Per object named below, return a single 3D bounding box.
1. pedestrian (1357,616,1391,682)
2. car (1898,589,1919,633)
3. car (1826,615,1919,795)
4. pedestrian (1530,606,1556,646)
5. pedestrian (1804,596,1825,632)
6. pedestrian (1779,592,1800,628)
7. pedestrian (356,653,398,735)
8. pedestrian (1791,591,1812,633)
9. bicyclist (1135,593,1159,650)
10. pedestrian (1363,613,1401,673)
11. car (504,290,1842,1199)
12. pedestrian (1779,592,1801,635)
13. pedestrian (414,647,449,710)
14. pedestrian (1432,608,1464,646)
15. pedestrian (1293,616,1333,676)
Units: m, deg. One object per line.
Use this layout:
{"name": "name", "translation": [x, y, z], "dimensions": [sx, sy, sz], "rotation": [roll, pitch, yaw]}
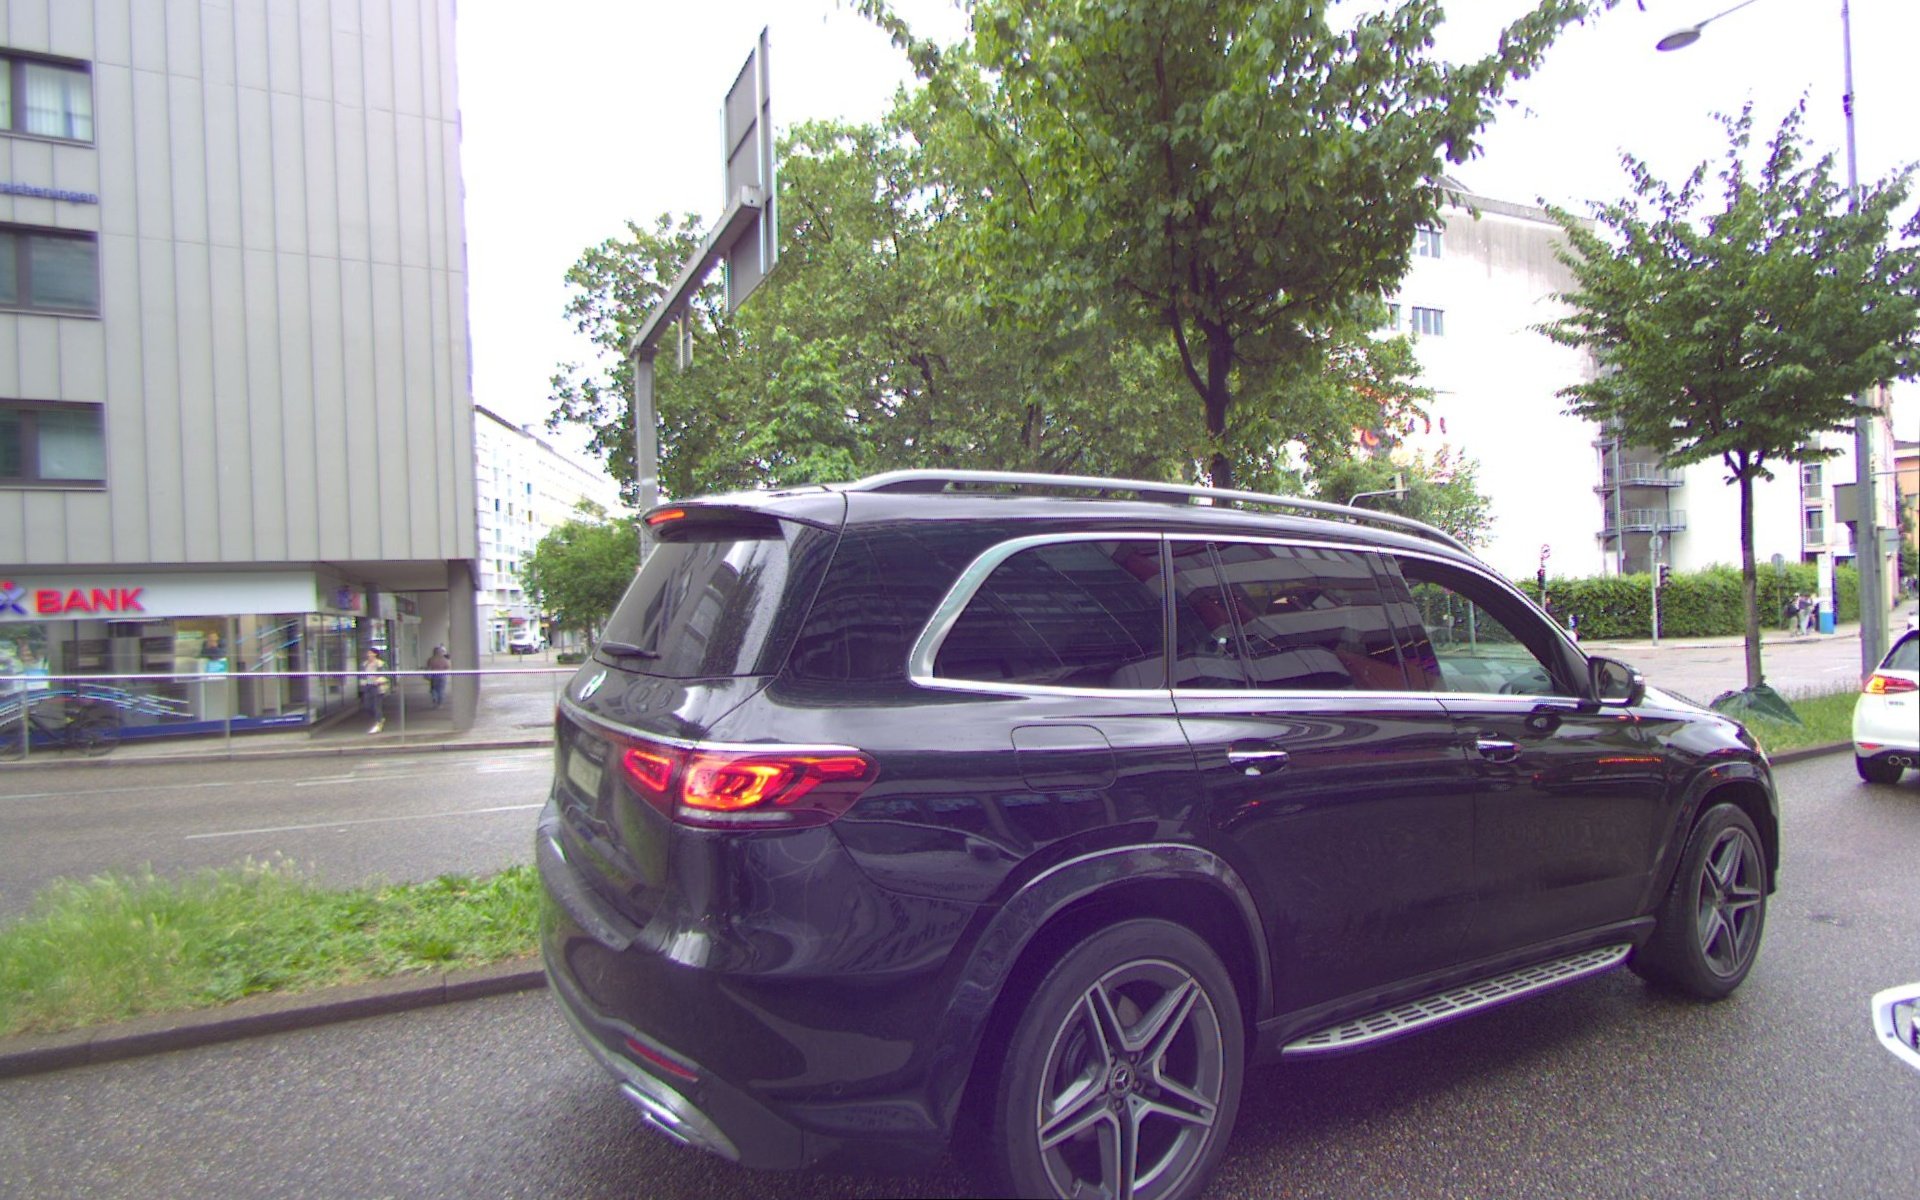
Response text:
{"name": "pedestrian", "translation": [10.854, 1.273, 26.357], "dimensions": [0.572, 1.684, 0.554], "rotation": [-2, 0, -30]}
{"name": "car", "translation": [35.022, 0.381, 35.764], "dimensions": [3.571, 1.506, 1.565], "rotation": [0, 1, -33]}
{"name": "car", "translation": [9.537, 0.872, 8.951], "dimensions": [3.800, 1.448, 1.767], "rotation": [0, 0, -33]}
{"name": "pedestrian", "translation": [24.528, 1.084, 42.281], "dimensions": [0.633, 1.664, 0.726], "rotation": [2, -1, -37]}
{"name": "pedestrian", "translation": [38.910, 0.619, 45.738], "dimensions": [0.522, 1.620, 0.576], "rotation": [2, -1, -36]}
{"name": "pedestrian", "translation": [37.862, 0.469, 45.839], "dimensions": [0.522, 1.620, 0.576], "rotation": [2, -1, -36]}
{"name": "pedestrian", "translation": [-12.411, 1.987, 21.382], "dimensions": [0.630, 1.659, 0.782], "rotation": [2, -1, -37]}
{"name": "pedestrian", "translation": [36.115, 0.503, 43.087], "dimensions": [0.559, 1.771, 0.535], "rotation": [2, -1, -35]}
{"name": "bicyclist", "translation": [5.156, 0.612, 27.682], "dimensions": [0.597, 1.550, 0.634], "rotation": [0, -2, 7]}
{"name": "pedestrian", "translation": [12.054, 1.218, 28.714], "dimensions": [0.620, 1.684, 0.749], "rotation": [-2, 0, -30]}
{"name": "car", "translation": [1.144, 0.516, 3.814], "dimensions": [5.016, 1.895, 1.901], "rotation": [3, -1, -31]}
{"name": "pedestrian", "translation": [34.846, 0.576, 42.177], "dimensions": [0.741, 1.771, 0.535], "rotation": [2, -1, -38]}
{"name": "pedestrian", "translation": [-14.931, 2.206, 28.385], "dimensions": [0.719, 1.719, 0.782], "rotation": [2, -3, -37]}
{"name": "pedestrian", "translation": [21.322, 1.170, 43.900], "dimensions": [0.677, 1.599, 1.055], "rotation": [2, -1, -34]}
{"name": "pedestrian", "translation": [10.862, 1.400, 30.926], "dimensions": [0.698, 1.807, 0.922], "rotation": [2, -1, -19]}
